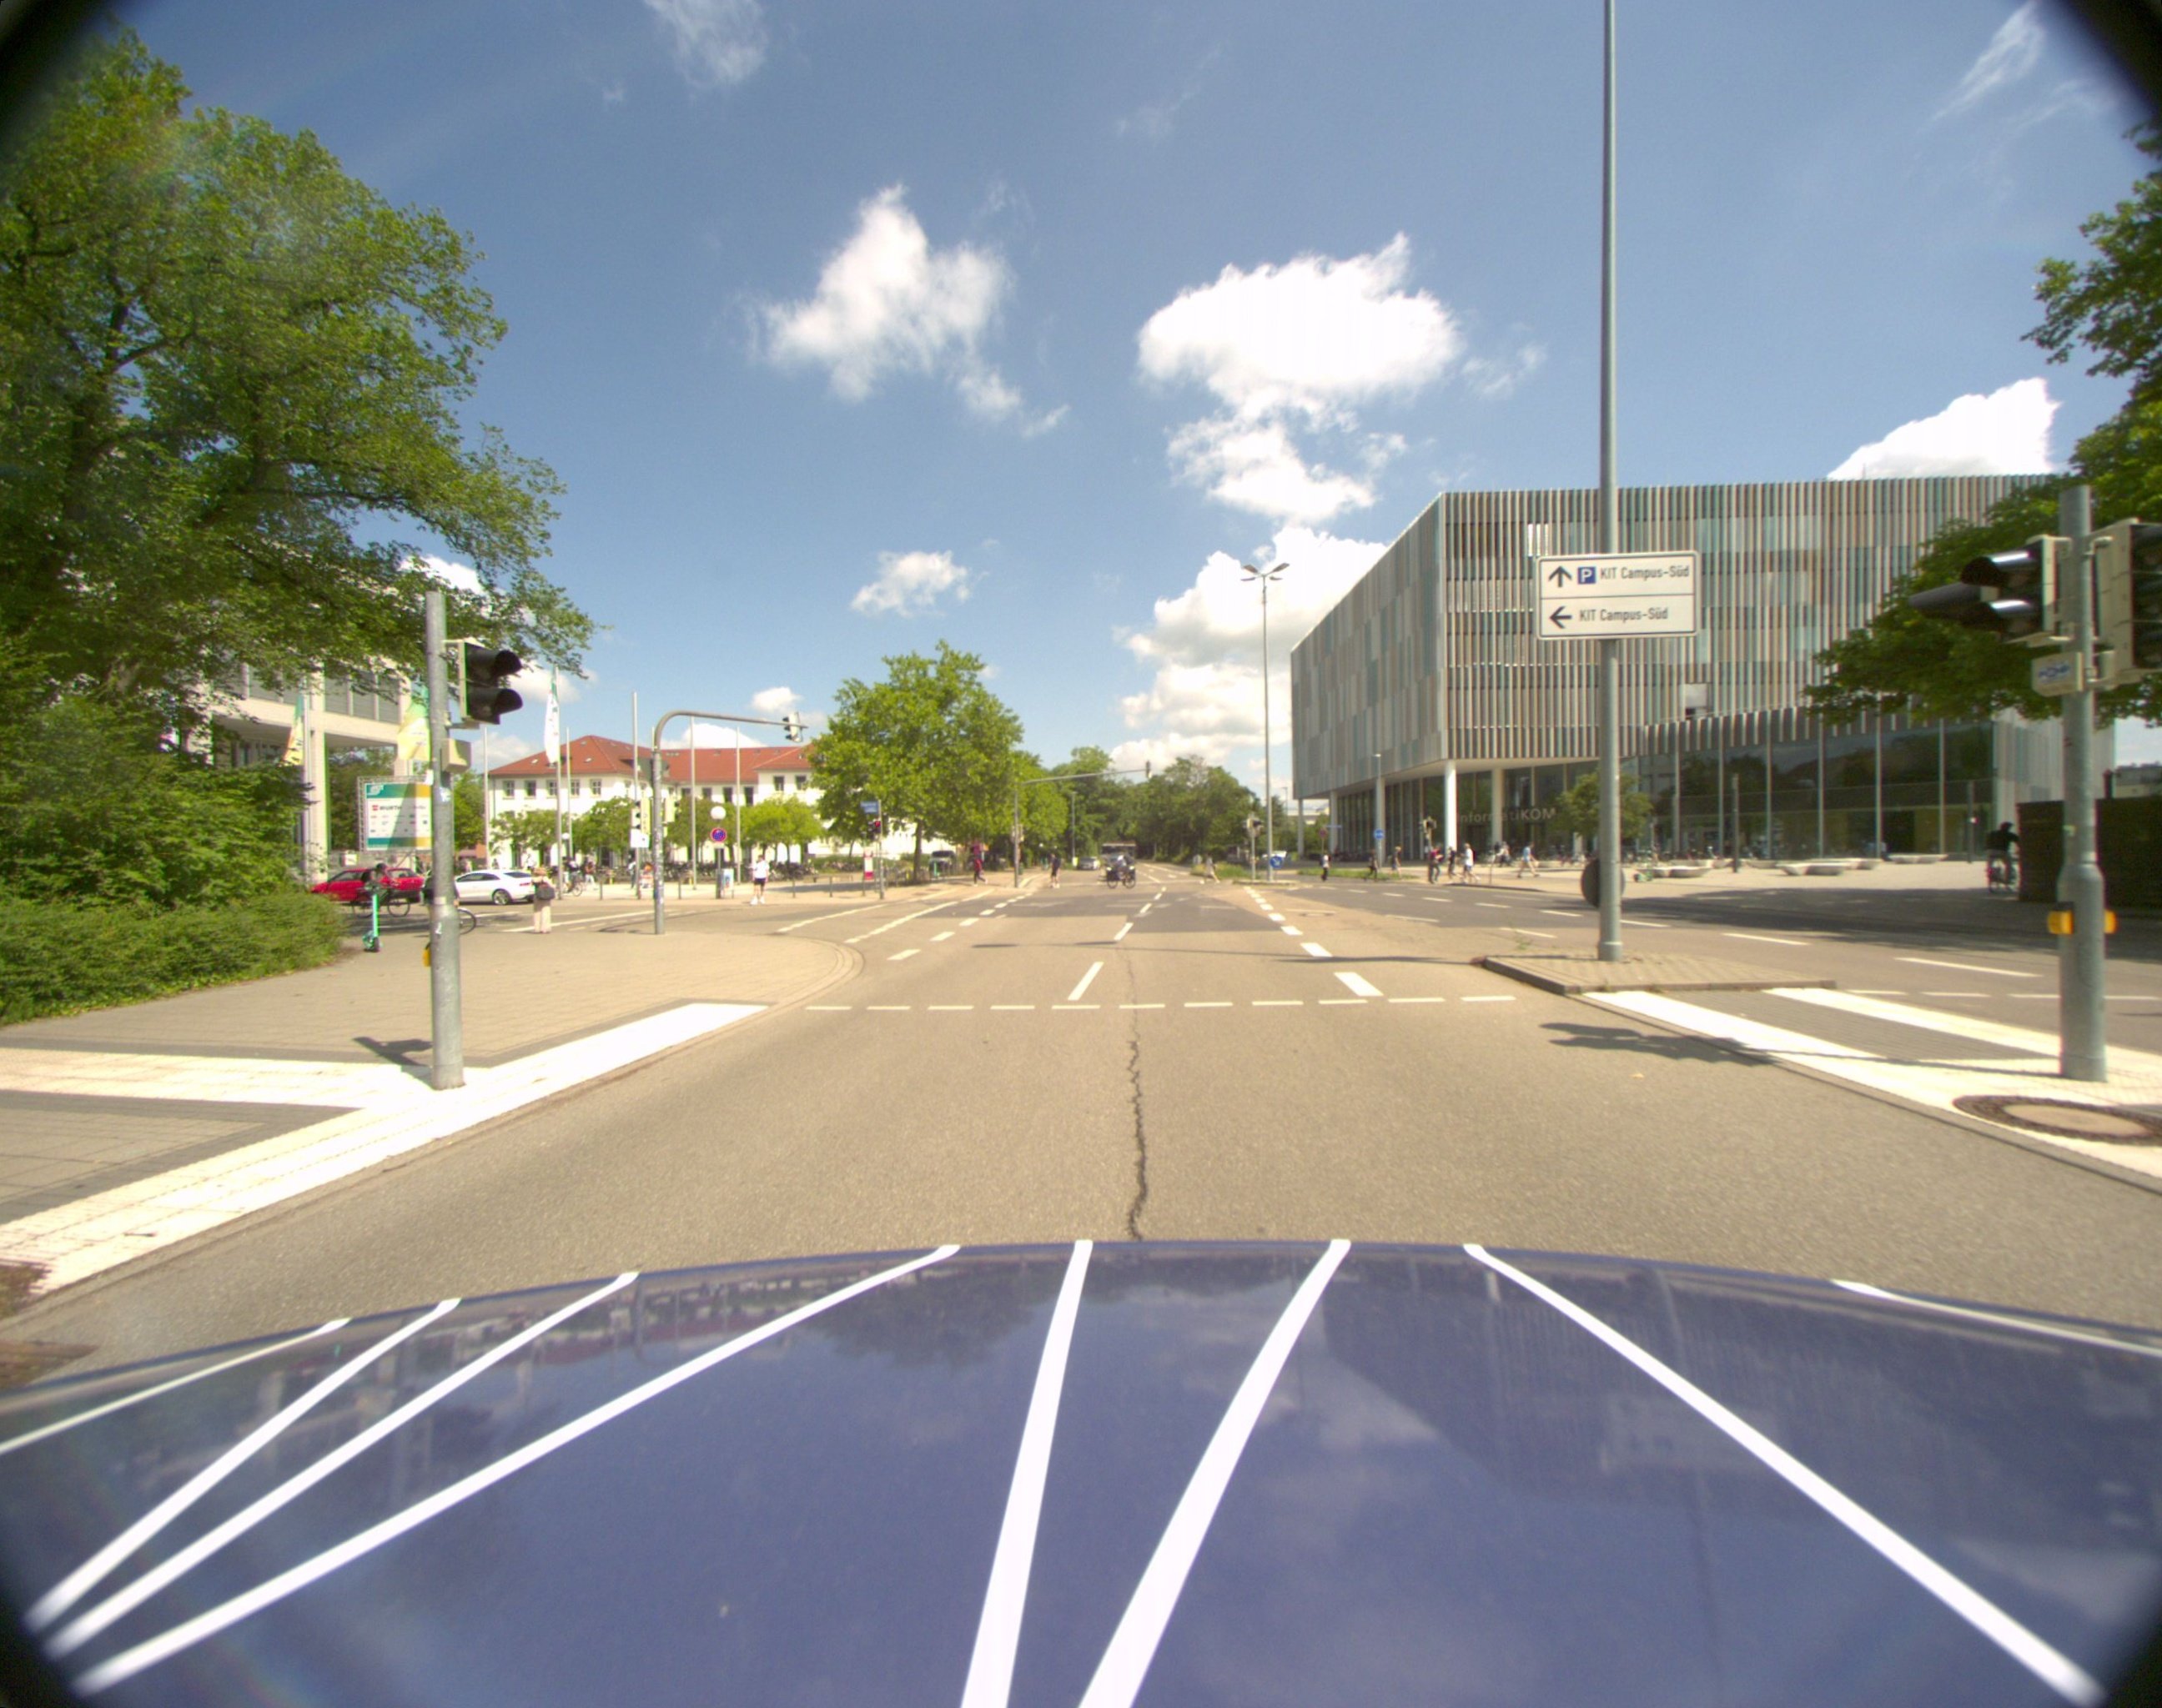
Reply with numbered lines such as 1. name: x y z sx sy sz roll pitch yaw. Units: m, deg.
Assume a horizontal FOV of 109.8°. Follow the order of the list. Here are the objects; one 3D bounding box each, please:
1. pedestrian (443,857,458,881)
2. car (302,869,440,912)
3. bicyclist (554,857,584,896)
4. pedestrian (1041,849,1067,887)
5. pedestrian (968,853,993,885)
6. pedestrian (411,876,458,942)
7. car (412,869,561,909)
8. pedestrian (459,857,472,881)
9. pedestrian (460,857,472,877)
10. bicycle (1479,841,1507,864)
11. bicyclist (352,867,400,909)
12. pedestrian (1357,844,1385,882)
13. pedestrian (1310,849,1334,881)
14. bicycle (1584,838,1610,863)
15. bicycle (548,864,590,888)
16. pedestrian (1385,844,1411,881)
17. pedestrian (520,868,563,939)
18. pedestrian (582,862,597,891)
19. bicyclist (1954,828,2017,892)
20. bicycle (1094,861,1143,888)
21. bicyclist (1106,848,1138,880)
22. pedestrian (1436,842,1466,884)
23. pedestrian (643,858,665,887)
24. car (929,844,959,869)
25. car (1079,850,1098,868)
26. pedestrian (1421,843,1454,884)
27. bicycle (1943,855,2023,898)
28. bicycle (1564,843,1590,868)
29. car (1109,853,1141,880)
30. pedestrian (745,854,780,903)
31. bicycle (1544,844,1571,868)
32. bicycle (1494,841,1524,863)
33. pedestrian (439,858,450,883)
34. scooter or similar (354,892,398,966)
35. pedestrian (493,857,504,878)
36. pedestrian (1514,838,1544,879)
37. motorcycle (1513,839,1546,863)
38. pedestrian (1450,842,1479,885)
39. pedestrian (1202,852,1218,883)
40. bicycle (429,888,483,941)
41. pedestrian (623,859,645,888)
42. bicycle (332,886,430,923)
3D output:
1. pedestrian: -50.671 1.233 61.075 0.676 1.892 0.800 -2 2 -30
2. car: -28.604 1.463 30.721 3.814 1.548 1.772 -1 1 -1
3. bicyclist: -24.658 1.061 36.583 1.085 1.843 0.686 -1 2 26
4. pedestrian: -1.400 0.720 39.406 1.030 1.915 0.973 -1 1 19
5. pedestrian: -5.202 0.767 39.292 1.064 1.588 0.970 -2 1 -18
6. pedestrian: -14.316 1.195 16.816 0.786 1.408 0.657 -1 -1 40
7. car: -23.703 1.390 30.414 4.439 1.389 1.834 -1 1 0
8. pedestrian: -50.261 1.195 62.044 0.676 1.892 0.800 -2 2 -30
9. pedestrian: -56.822 1.195 70.241 0.676 1.892 0.800 -2 2 -30
10. bicycle: 29.750 -0.130 54.842 3.421 1.634 0.808 -2 1 -44
11. bicyclist: -21.555 1.025 23.235 0.834 1.219 0.618 -2 1 -12
12. pedestrian: 14.995 0.433 39.324 0.879 1.915 0.970 -2 1 -18
13. pedestrian: 12.731 0.574 40.099 0.878 1.619 0.971 -2 1 -3
14. bicycle: 33.934 -0.265 49.958 0.997 1.543 3.422 -1 1 41
15. bicycle: -24.709 1.055 36.638 2.049 1.128 0.691 -1 1 25
16. pedestrian: 16.747 0.440 40.154 0.879 1.915 0.971 -2 1 -6
17. pedestrian: -12.854 1.161 18.109 0.633 1.617 0.647 0 2 40
18. pedestrian: -27.091 1.219 41.881 0.434 1.581 0.540 -1 1 41
19. bicyclist: 24.314 0.141 20.423 1.110 1.658 0.784 -2 1 -22
20. bicycle: 1.766 0.962 35.883 2.159 1.244 0.887 -1 1 36
21. bicyclist: 1.932 0.469 35.766 1.074 1.436 0.974 -1 1 36
22. pedestrian: 17.249 0.429 35.422 1.107 1.915 0.973 -1 1 18
23. pedestrian: -24.622 1.077 43.819 0.833 1.613 0.686 -1 2 28
24. car: -11.758 0.204 65.471 1.999 2.043 4.227 -1 1 -4
25. car: 0.815 0.476 79.381 1.912 1.772 4.000 -1 0 1
26. pedestrian: 17.136 0.461 36.528 1.108 1.915 0.972 -2 1 1
27. bicycle: 24.248 0.591 20.417 1.897 1.056 0.816 -2 1 -21
28. bicycle: 33.231 0.096 50.899 0.997 1.543 3.422 -1 1 41
29. car: 2.744 0.762 47.897 1.845 1.593 4.000 -1 1 2
30. pedestrian: -12.391 0.934 29.553 0.878 1.862 0.972 -2 1 0
31. bicycle: 32.724 0.095 52.128 1.049 1.543 3.422 -1 1 41
32. bicycle: 30.462 -0.130 54.056 2.693 1.485 0.930 -2 1 -40
33. pedestrian: -45.112 1.169 53.884 0.474 1.704 0.382 -2 2 -29
34. scooter or similar: -12.541 1.300 13.516 1.227 1.226 0.438 -1 -1 41
35. pedestrian: -42.769 0.977 55.791 0.560 1.527 0.474 0 2 41
36. pedestrian: 21.401 0.206 36.340 1.107 1.915 0.973 -1 1 24
37. motorcycle: 31.355 -0.238 53.036 3.304 1.630 0.969 -2 1 -41
38. pedestrian: 17.219 0.416 34.143 1.106 1.915 0.973 -1 1 27
39. pedestrian: 6.239 0.655 36.810 0.591 1.495 0.416 -2 1 -14
40. bicycle: -14.134 1.338 17.168 1.659 1.136 0.673 -2 -2 41
41. pedestrian: -25.230 1.109 42.911 0.833 1.613 0.686 0 2 30
42. bicycle: -21.416 1.531 23.285 2.164 0.993 0.646 -2 1 -13
